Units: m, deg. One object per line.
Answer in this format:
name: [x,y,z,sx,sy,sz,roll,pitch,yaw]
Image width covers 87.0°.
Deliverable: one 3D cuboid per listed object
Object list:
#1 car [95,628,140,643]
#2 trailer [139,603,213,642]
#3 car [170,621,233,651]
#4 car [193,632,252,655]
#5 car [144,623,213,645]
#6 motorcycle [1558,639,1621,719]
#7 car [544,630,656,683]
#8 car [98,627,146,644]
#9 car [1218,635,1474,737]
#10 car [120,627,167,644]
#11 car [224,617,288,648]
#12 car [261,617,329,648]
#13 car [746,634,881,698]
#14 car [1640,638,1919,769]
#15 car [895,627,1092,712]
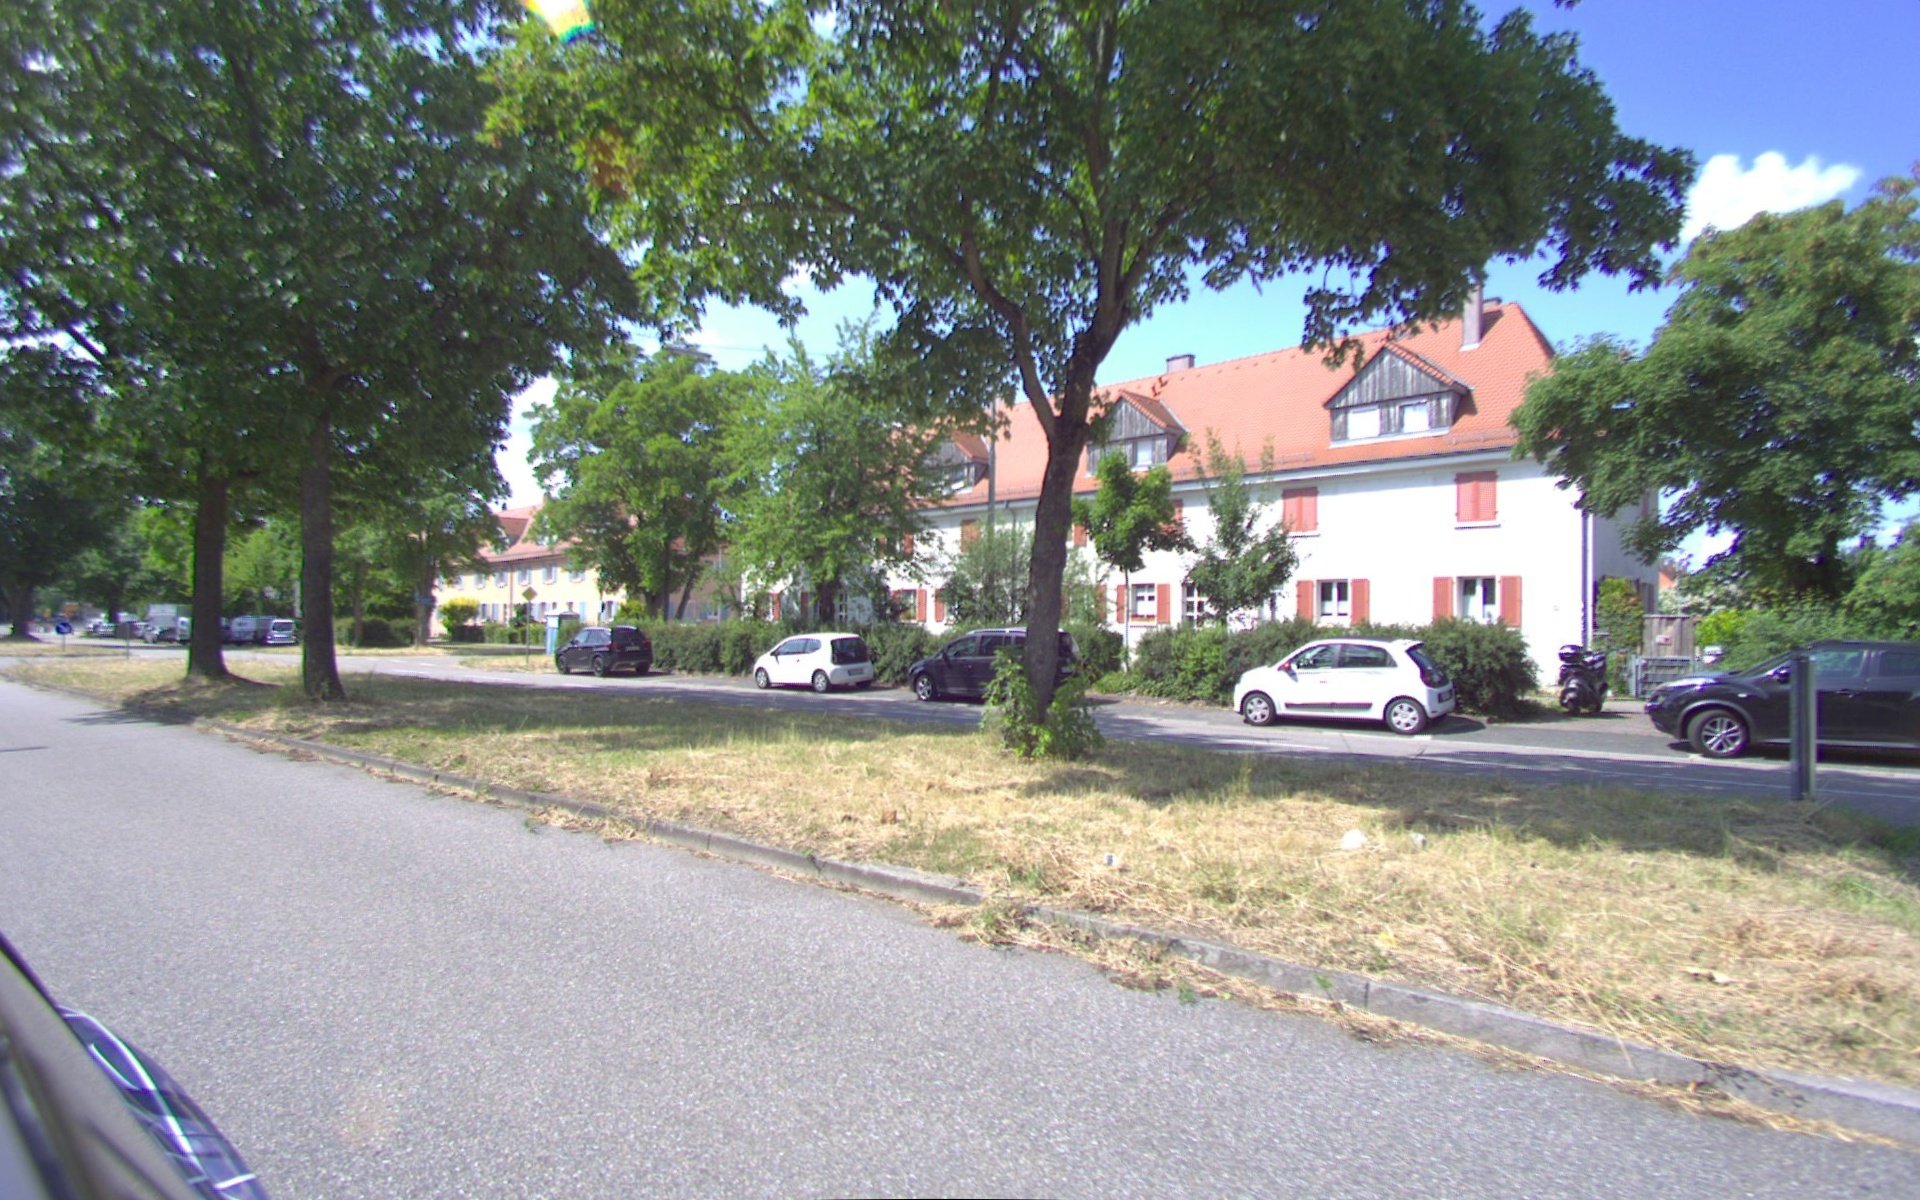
car: [-83.169,3.505,99.921,1.646,1.358,3.827,-1,0,-8]
trailer: [-68.081,1.910,88.017,2.782,3.132,5.766,-2,0,-11]
car: [-56.505,2.628,75.495,1.779,2.029,4.002,-1,0,-2]
car: [-53.984,3.161,74.170,1.550,1.408,4.002,-1,0,-2]
car: [-60.499,2.623,78.378,1.799,1.521,3.945,-1,0,41]
motorcycle: [11.676,1.429,18.746,0.747,1.306,1.845,-1,0,40]
car: [-12.054,1.829,33.780,3.997,1.563,1.749,-1,0,40]
car: [-78.966,3.336,95.414,1.646,1.475,3.827,-1,0,-8]
car: [6.647,1.399,17.633,3.844,1.462,1.643,-1,0,40]
car: [-76.519,3.320,94.877,1.646,1.475,3.827,-1,0,-8]
car: [-49.022,2.236,70.584,1.779,2.029,4.002,-1,0,-2]
car: [-42.078,2.042,64.117,1.779,1.874,4.001,-1,-1,-2]
car: [-3.898,1.691,26.728,3.532,1.472,1.577,-1,0,40]
car: [11.441,1.274,13.185,4.100,1.492,1.643,-2,0,40]
car: [0.675,1.462,22.565,4.311,1.624,1.643,-1,0,40]
